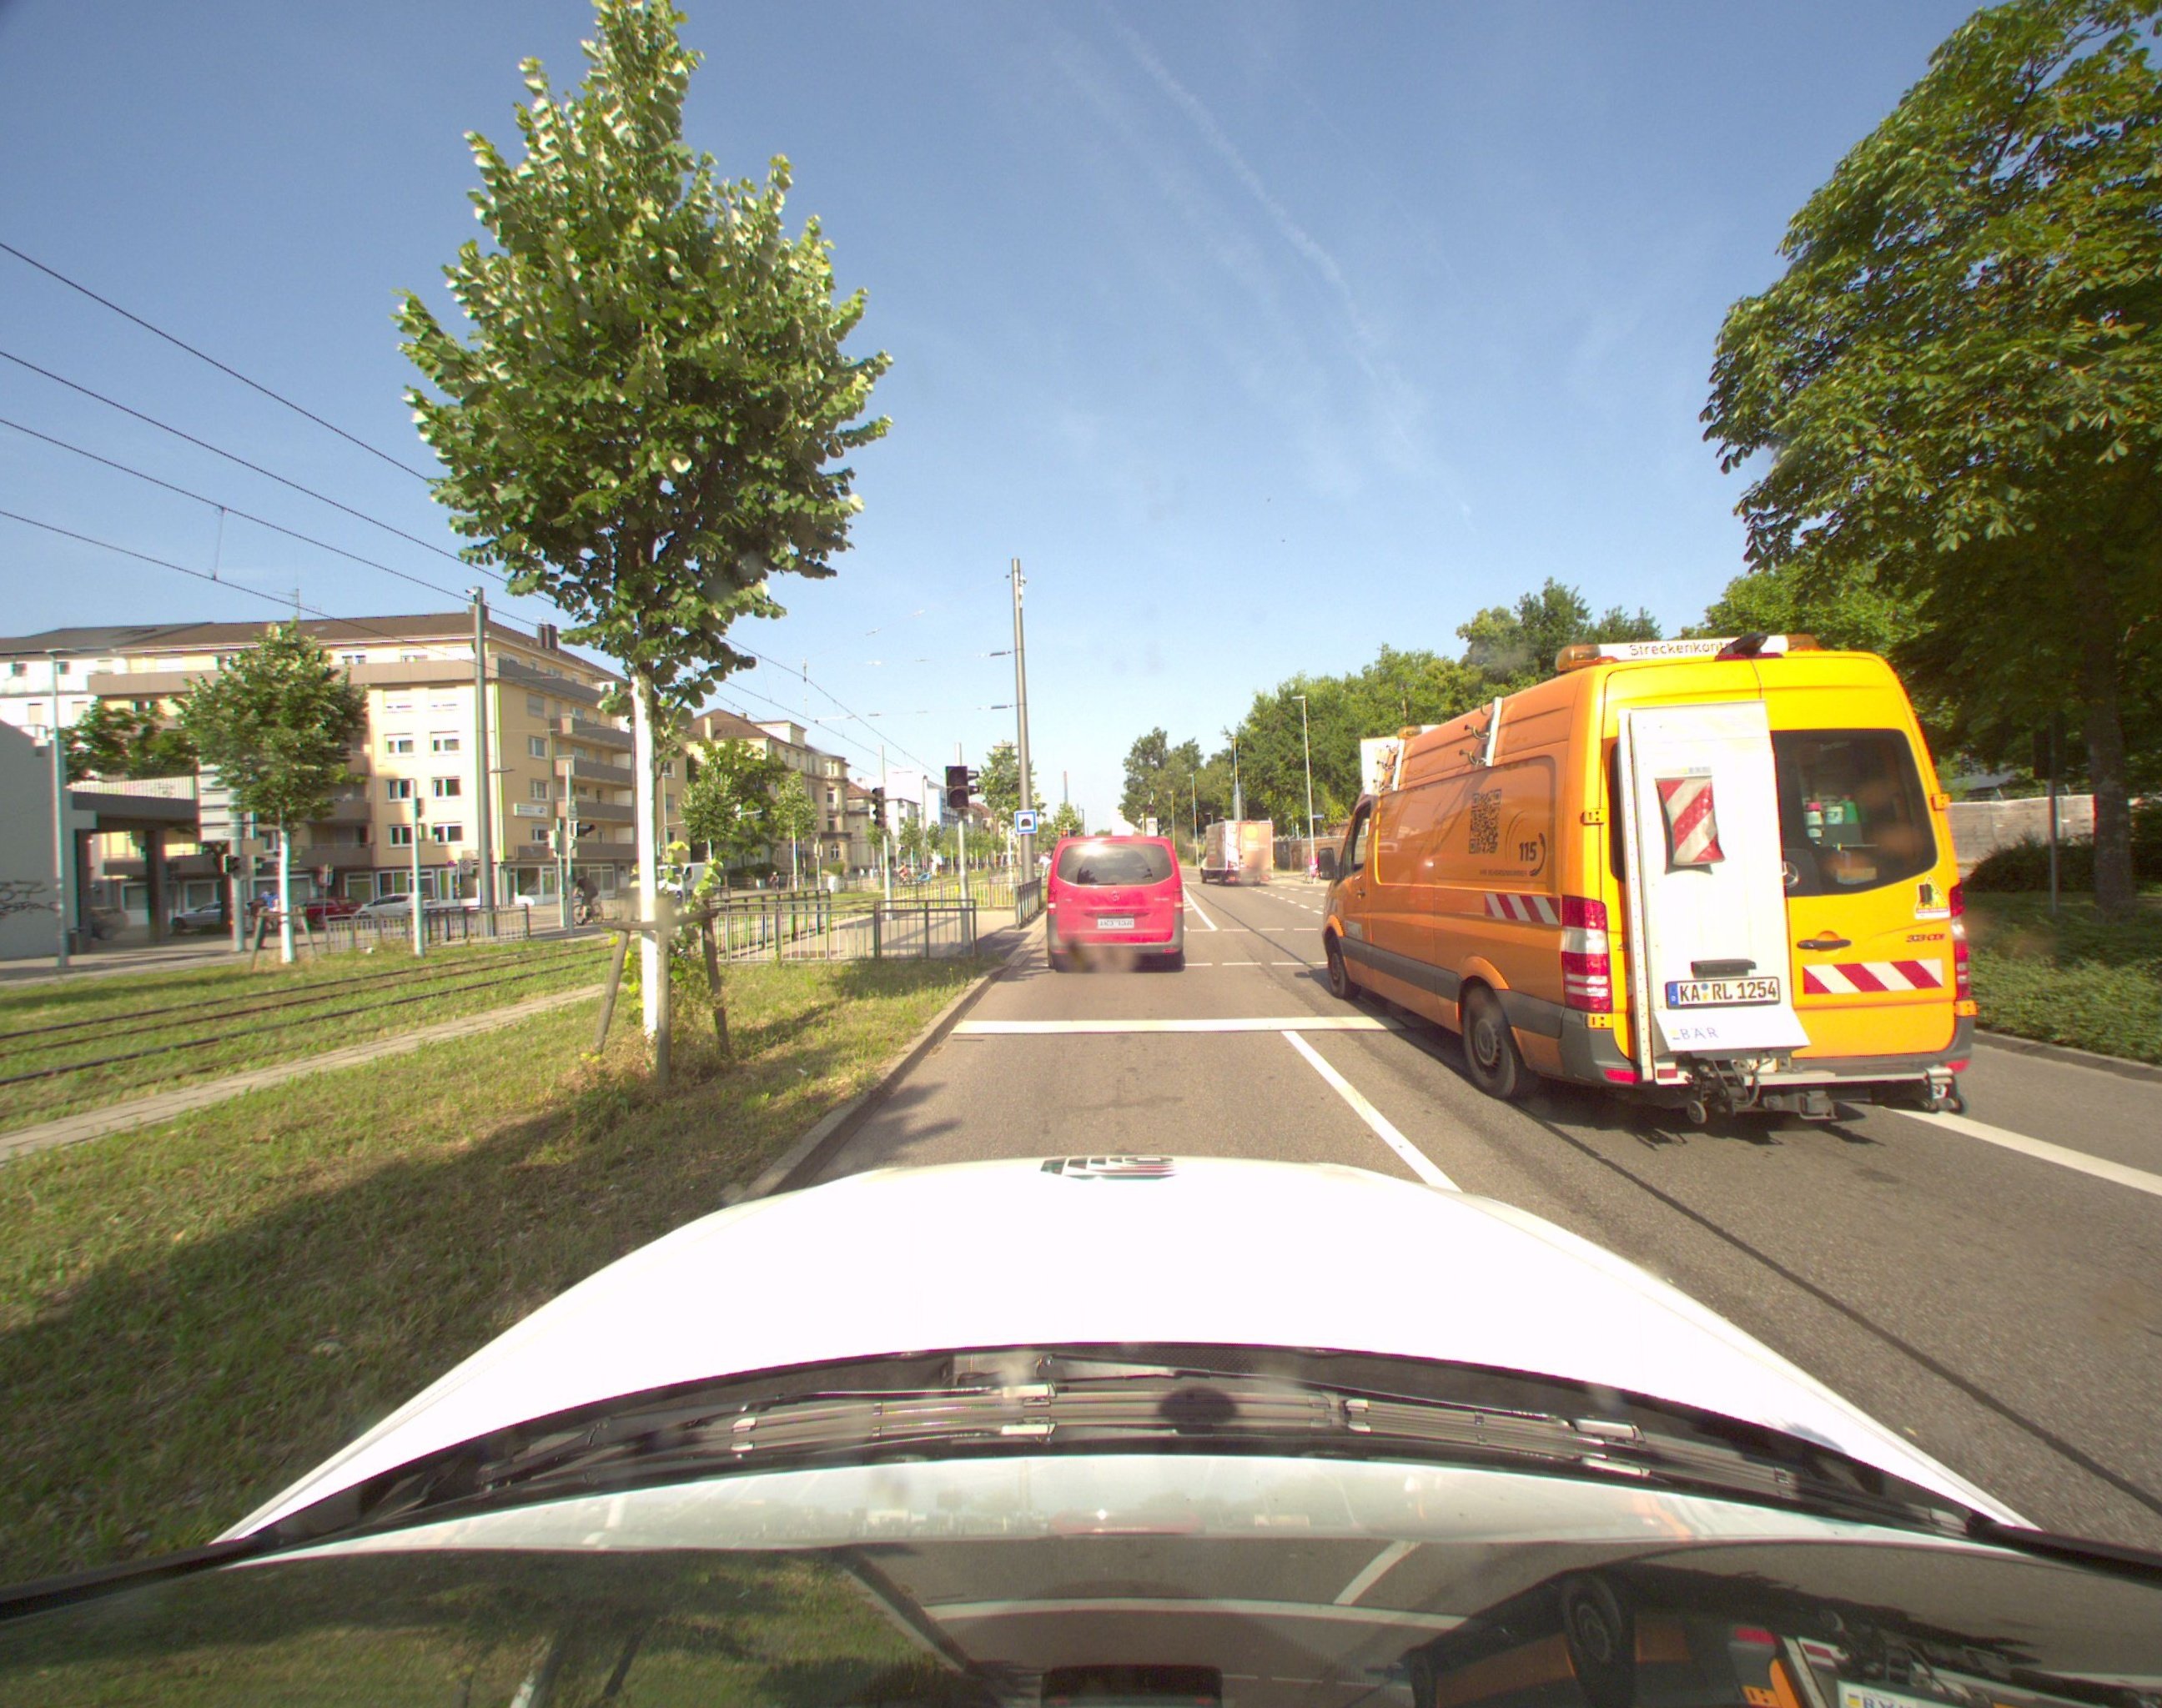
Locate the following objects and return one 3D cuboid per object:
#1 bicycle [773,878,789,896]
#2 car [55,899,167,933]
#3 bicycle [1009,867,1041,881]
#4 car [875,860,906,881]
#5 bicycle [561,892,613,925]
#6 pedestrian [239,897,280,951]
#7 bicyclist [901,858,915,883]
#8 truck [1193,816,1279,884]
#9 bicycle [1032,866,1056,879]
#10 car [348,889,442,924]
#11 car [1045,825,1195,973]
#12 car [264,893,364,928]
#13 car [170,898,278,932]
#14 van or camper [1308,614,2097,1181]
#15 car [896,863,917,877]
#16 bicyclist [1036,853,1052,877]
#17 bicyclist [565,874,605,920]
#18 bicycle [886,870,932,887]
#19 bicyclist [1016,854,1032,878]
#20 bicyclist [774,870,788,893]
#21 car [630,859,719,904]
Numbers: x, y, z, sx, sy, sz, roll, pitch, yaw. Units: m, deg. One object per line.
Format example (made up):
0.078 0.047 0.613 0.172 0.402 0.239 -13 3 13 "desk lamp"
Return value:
-24.408 2.662 66.324 0.693 1.346 1.756 -2 0 -2 "bicycle"
-54.600 3.494 45.888 3.931 1.604 1.814 -3 0 -3 "car"
-3.656 1.290 53.170 1.993 0.793 0.628 -3 0 -5 "bicycle"
-19.700 1.668 84.435 1.986 2.013 4.002 -5 -1 2 "car"
-16.199 1.780 26.702 1.593 0.935 0.560 -5 0 22 "bicycle"
-27.107 2.297 26.873 0.655 1.690 0.646 -3 -1 5 "pedestrian"
-11.635 1.106 54.808 0.891 1.628 0.888 -2 -1 -13 "bicyclist"
7.558 -0.120 40.777 2.496 3.061 7.812 0 -1 -2 "truck"
-2.281 1.142 50.541 0.711 0.798 1.613 -1 -1 30 "bicycle"
-38.352 2.908 45.602 3.613 1.583 1.708 -3 2 -2 "car"
0.559 0.584 12.396 1.894 1.859 4.001 -1 0 2 "car"
-42.895 3.153 45.624 3.777 1.688 1.773 -3 0 -2 "car"
-47.850 3.386 45.546 3.930 1.604 1.814 -3 0 -3 "car"
3.565 0.189 6.614 1.978 2.472 6.065 -1 0 2 "van or camper"
-27.747 2.566 129.744 2.242 2.014 5.261 0 -2 0 "car"
-2.283 0.670 50.552 0.679 1.440 0.811 -1 -1 30 "bicyclist"
-16.269 1.423 26.713 0.962 1.395 0.549 -5 0 22 "bicyclist"
-11.580 1.652 54.813 2.991 0.965 0.896 -2 -1 -13 "bicycle"
-3.701 0.801 53.170 0.981 1.500 0.619 -3 0 -5 "bicyclist"
-24.425 2.226 66.311 0.667 1.805 1.083 -2 -1 -2 "bicyclist"
-22.234 1.422 44.793 2.038 2.238 5.335 -2 0 1 "car"
